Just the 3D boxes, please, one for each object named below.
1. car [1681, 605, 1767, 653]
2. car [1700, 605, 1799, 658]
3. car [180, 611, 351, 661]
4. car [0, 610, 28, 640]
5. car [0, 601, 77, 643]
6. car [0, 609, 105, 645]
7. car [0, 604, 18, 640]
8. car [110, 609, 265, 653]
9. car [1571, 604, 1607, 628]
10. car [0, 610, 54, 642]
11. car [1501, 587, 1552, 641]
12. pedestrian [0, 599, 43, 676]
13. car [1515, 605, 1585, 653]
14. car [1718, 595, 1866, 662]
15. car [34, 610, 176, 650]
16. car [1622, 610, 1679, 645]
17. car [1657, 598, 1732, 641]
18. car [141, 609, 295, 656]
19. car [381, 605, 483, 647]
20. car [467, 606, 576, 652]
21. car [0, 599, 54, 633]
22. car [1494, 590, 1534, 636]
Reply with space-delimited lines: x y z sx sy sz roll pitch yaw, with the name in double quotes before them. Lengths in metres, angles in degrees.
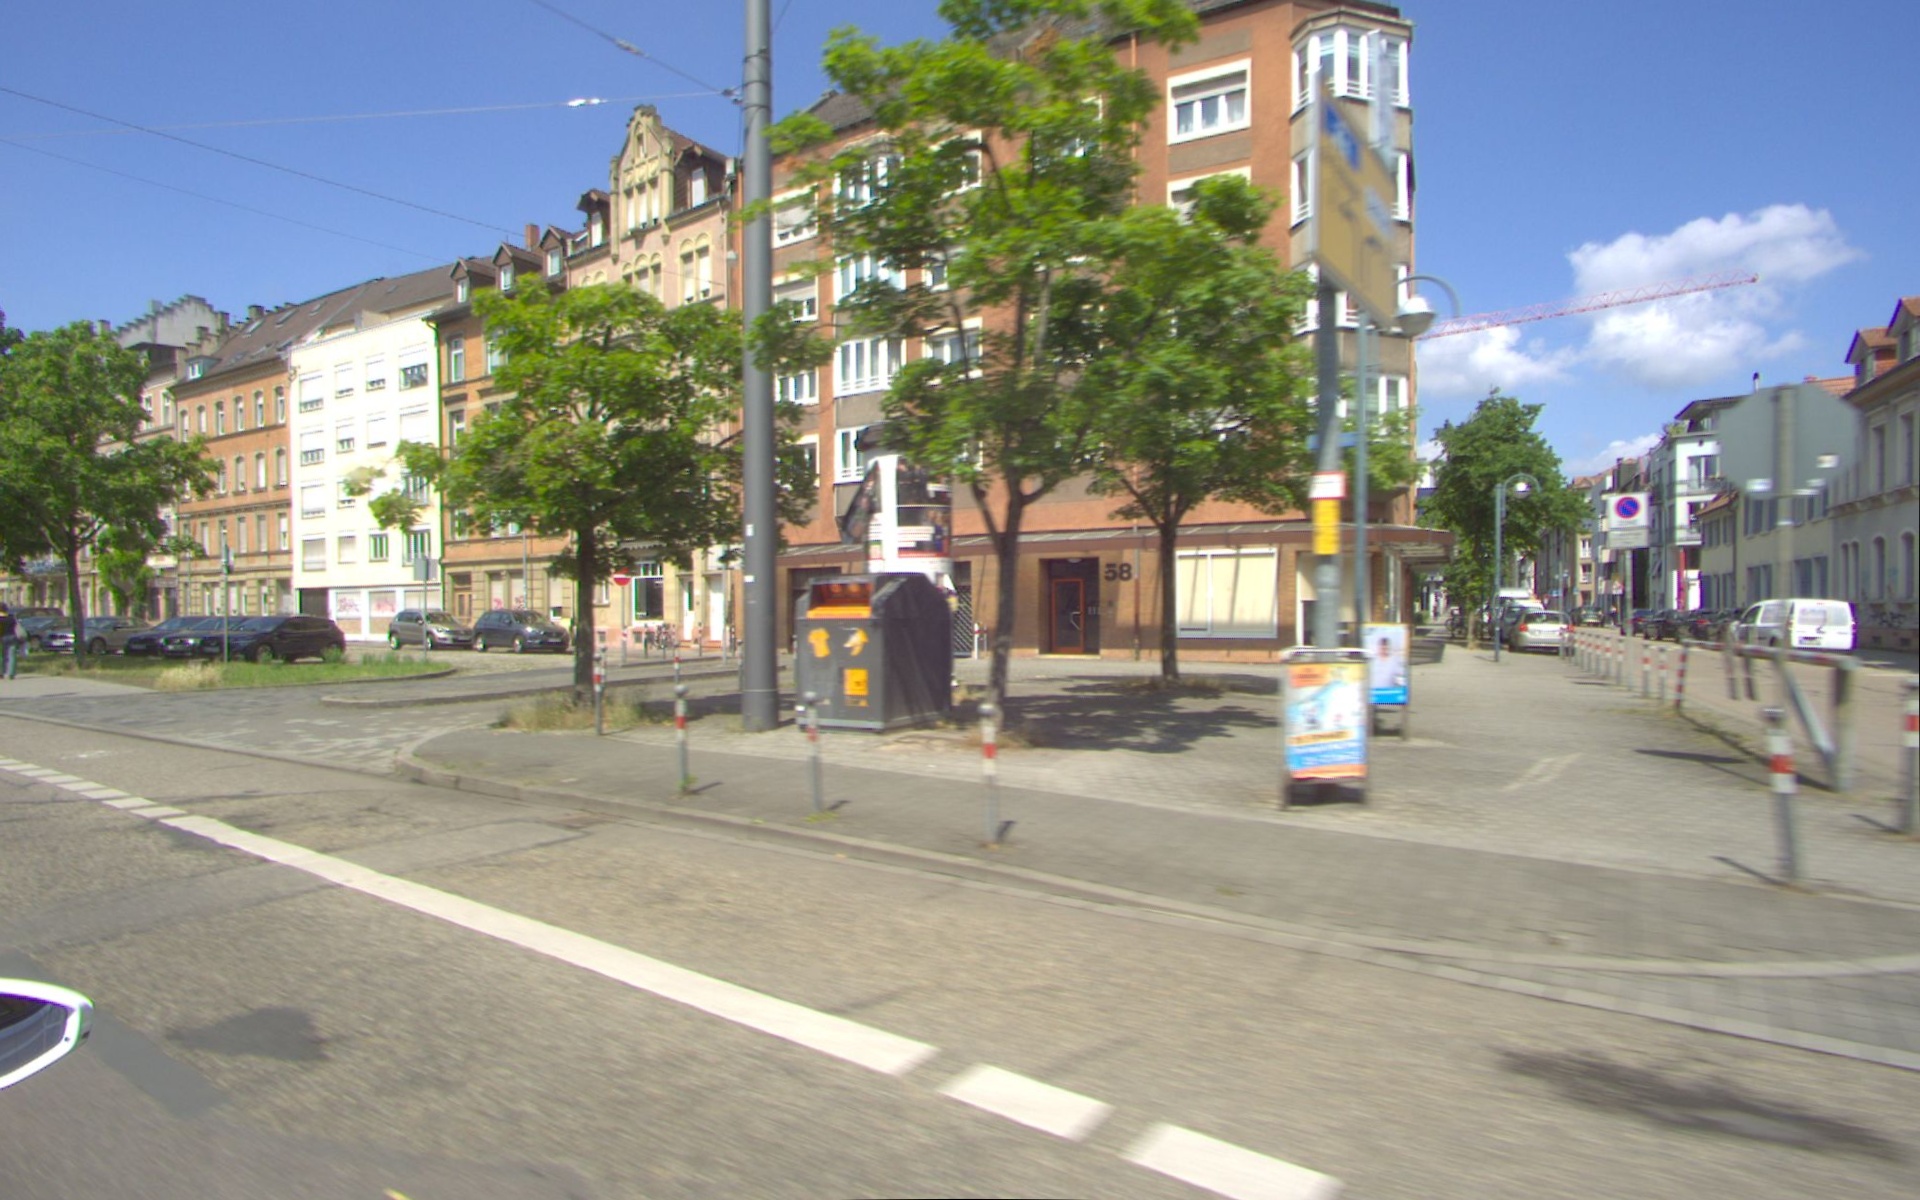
"car" 29.343 1.128 38.596 1.969 1.717 3.986 0 -2 28
"car" 27.270 1.095 34.735 1.969 1.717 3.986 -1 -2 28
"car" -20.513 1.061 29.804 1.924 1.371 4.000 0 -2 10
"car" -46.370 1.144 46.818 1.816 1.423 4.087 0 -2 -2
"car" -40.575 0.954 42.891 1.816 1.763 4.367 0 -2 -3
"car" -37.335 1.108 40.596 1.816 1.398 4.271 0 -2 -3
"car" -48.755 1.049 48.709 1.816 1.763 4.152 0 -2 2
"car" -25.902 1.055 33.782 1.923 1.398 4.001 0 -2 5
"car" 47.888 1.238 76.274 1.969 1.717 4.218 0 -2 28
"car" -43.698 1.165 44.973 1.816 1.398 4.695 0 -2 -1
"car" 24.908 0.664 44.112 1.839 2.213 4.790 0 -2 28
"pedestrian" -21.882 0.865 23.187 1.030 1.726 0.699 0 -1 32
"car" 19.603 0.980 33.386 1.839 1.517 3.985 0 -2 28
"car" 24.499 0.810 29.694 1.905 1.847 3.995 0 0 16
"car" -31.924 1.146 37.557 1.816 1.398 4.271 0 -2 -3
"car" 36.005 1.444 52.315 1.969 1.717 3.986 0 -2 28
"car" 31.112 0.867 42.534 1.969 1.717 3.986 0 -2 28
"car" -23.555 1.035 32.004 1.923 1.398 4.002 0 -2 0
"car" -21.885 1.085 41.488 4.433 1.636 1.828 -1 -2 33
"car" -16.664 1.096 37.998 4.437 1.636 1.827 -1 -2 36
"car" -63.073 1.124 67.179 5.318 2.206 2.107 -1 -2 33
"car" 30.584 0.762 55.361 1.839 2.387 4.790 0 -2 28
